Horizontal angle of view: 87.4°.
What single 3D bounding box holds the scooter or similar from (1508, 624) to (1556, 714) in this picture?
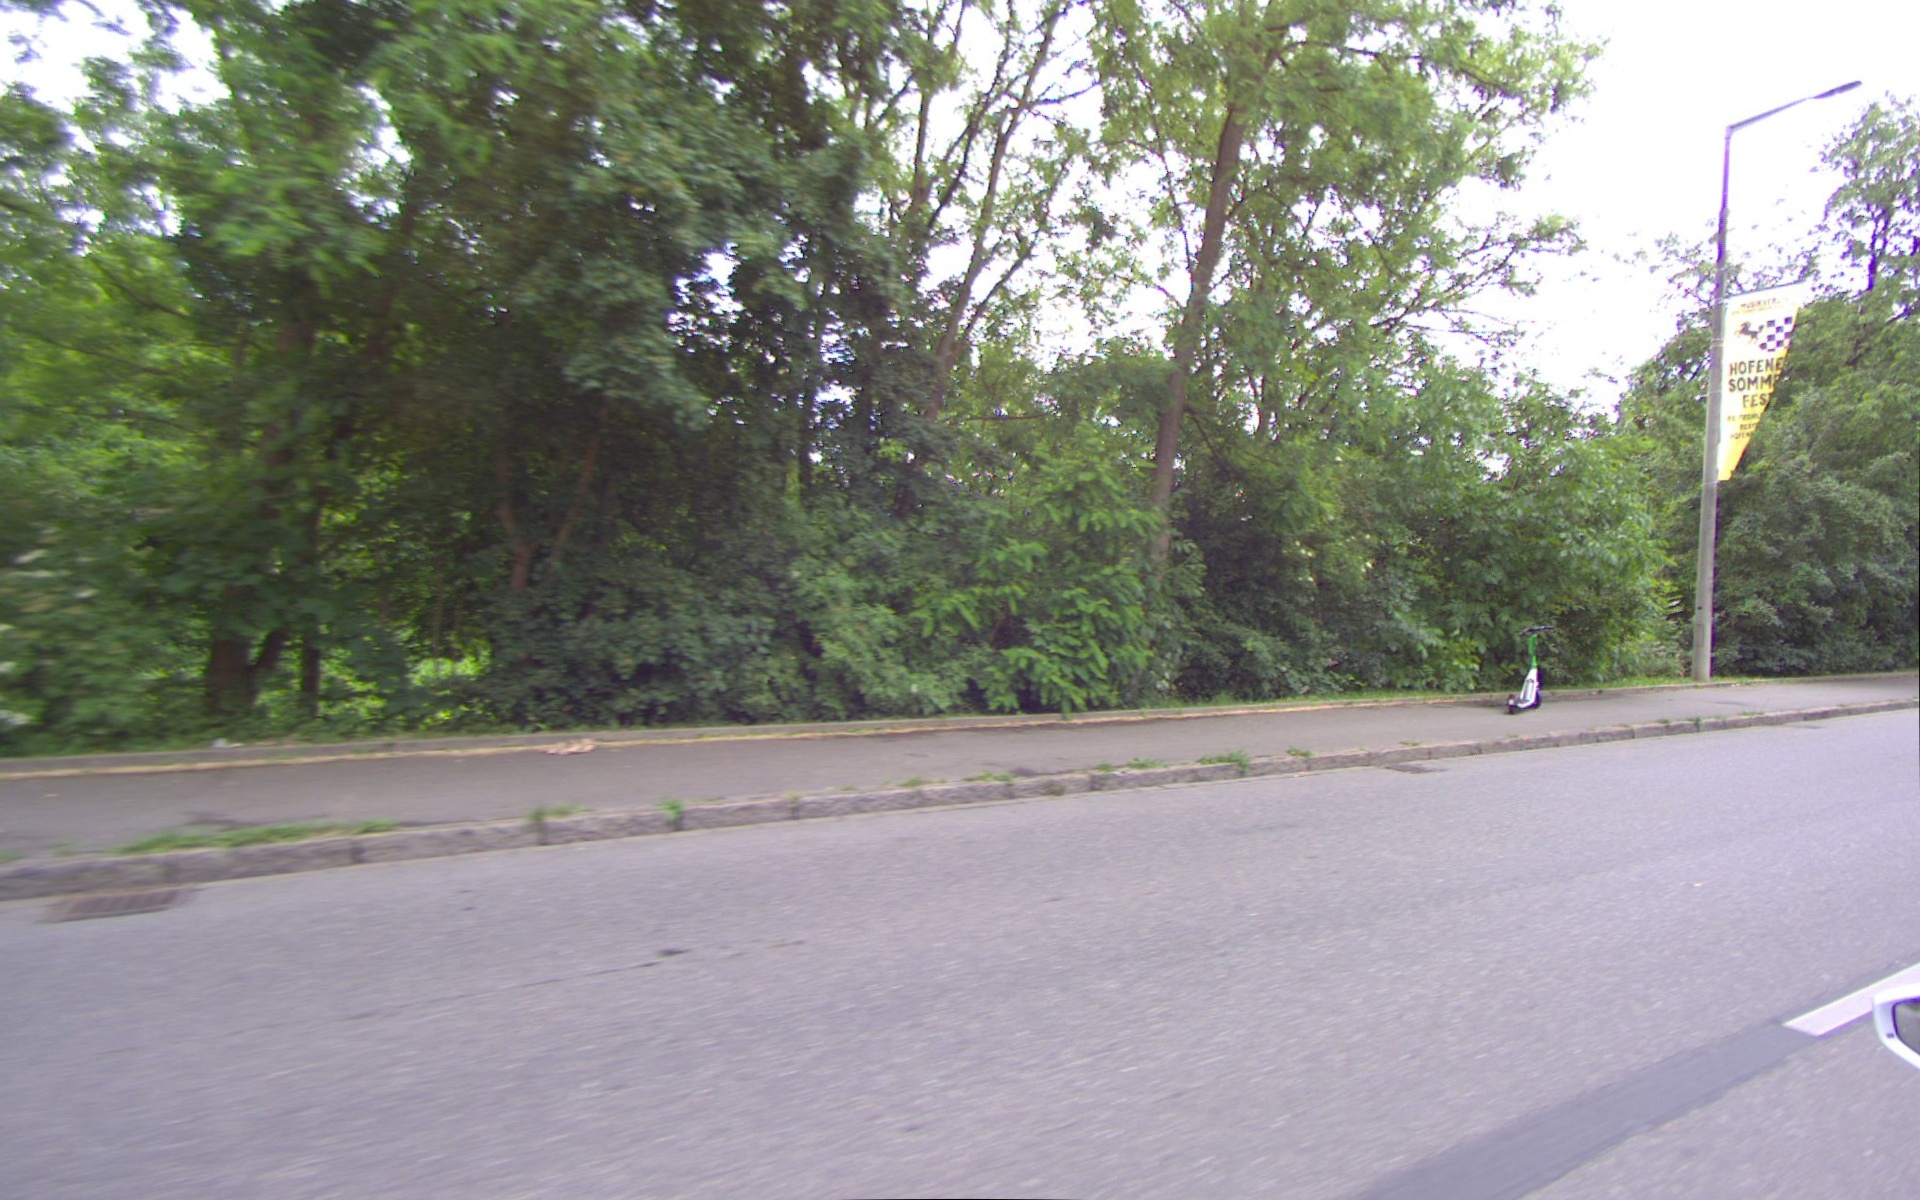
[{"bbox_3d":[8.266,0.968,14.502,0.360,1.200,1.292,3,2,38],"label":"scooter or similar"}]
